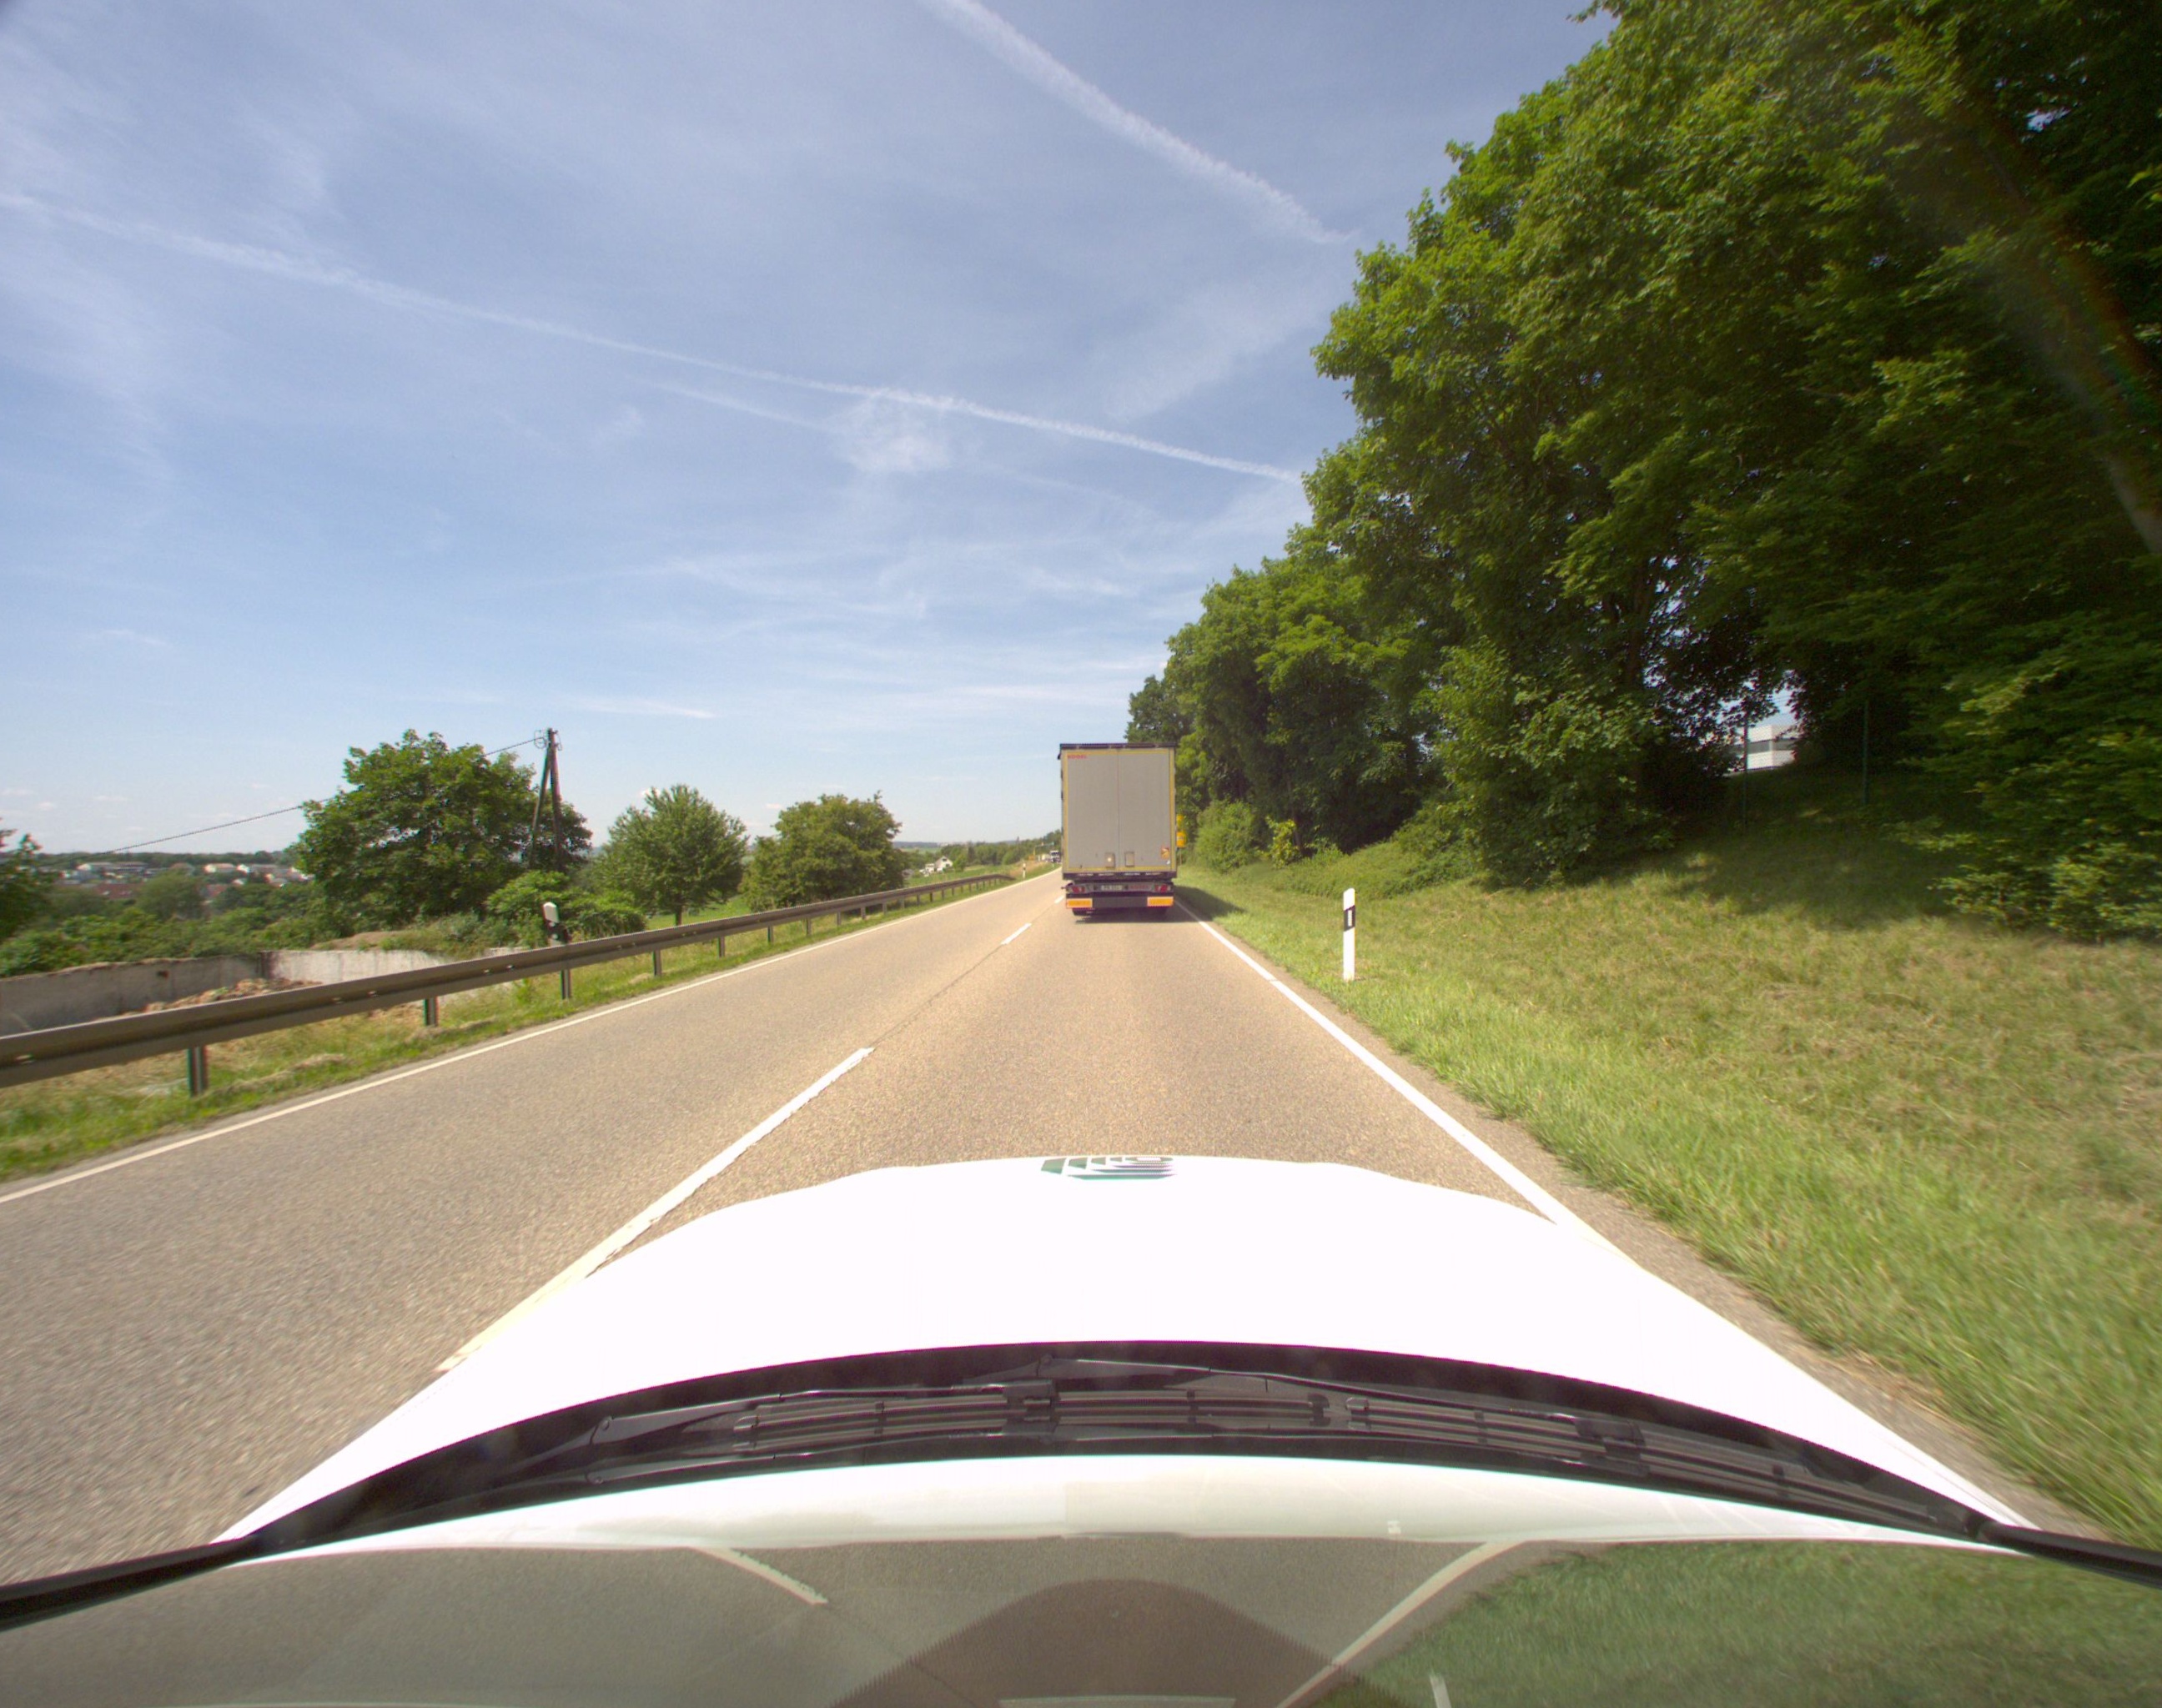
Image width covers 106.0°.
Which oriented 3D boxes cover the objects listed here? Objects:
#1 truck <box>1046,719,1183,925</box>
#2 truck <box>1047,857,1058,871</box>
[{"bbox_3d":[0.920,-0.686,21.968,2.895,4.410,8.866,-1,0,3],"label":"truck"},{"bbox_3d":[-7.864,2.651,223.557,2.749,3.576,11.057,-4,-1,-1],"label":"truck"}]
